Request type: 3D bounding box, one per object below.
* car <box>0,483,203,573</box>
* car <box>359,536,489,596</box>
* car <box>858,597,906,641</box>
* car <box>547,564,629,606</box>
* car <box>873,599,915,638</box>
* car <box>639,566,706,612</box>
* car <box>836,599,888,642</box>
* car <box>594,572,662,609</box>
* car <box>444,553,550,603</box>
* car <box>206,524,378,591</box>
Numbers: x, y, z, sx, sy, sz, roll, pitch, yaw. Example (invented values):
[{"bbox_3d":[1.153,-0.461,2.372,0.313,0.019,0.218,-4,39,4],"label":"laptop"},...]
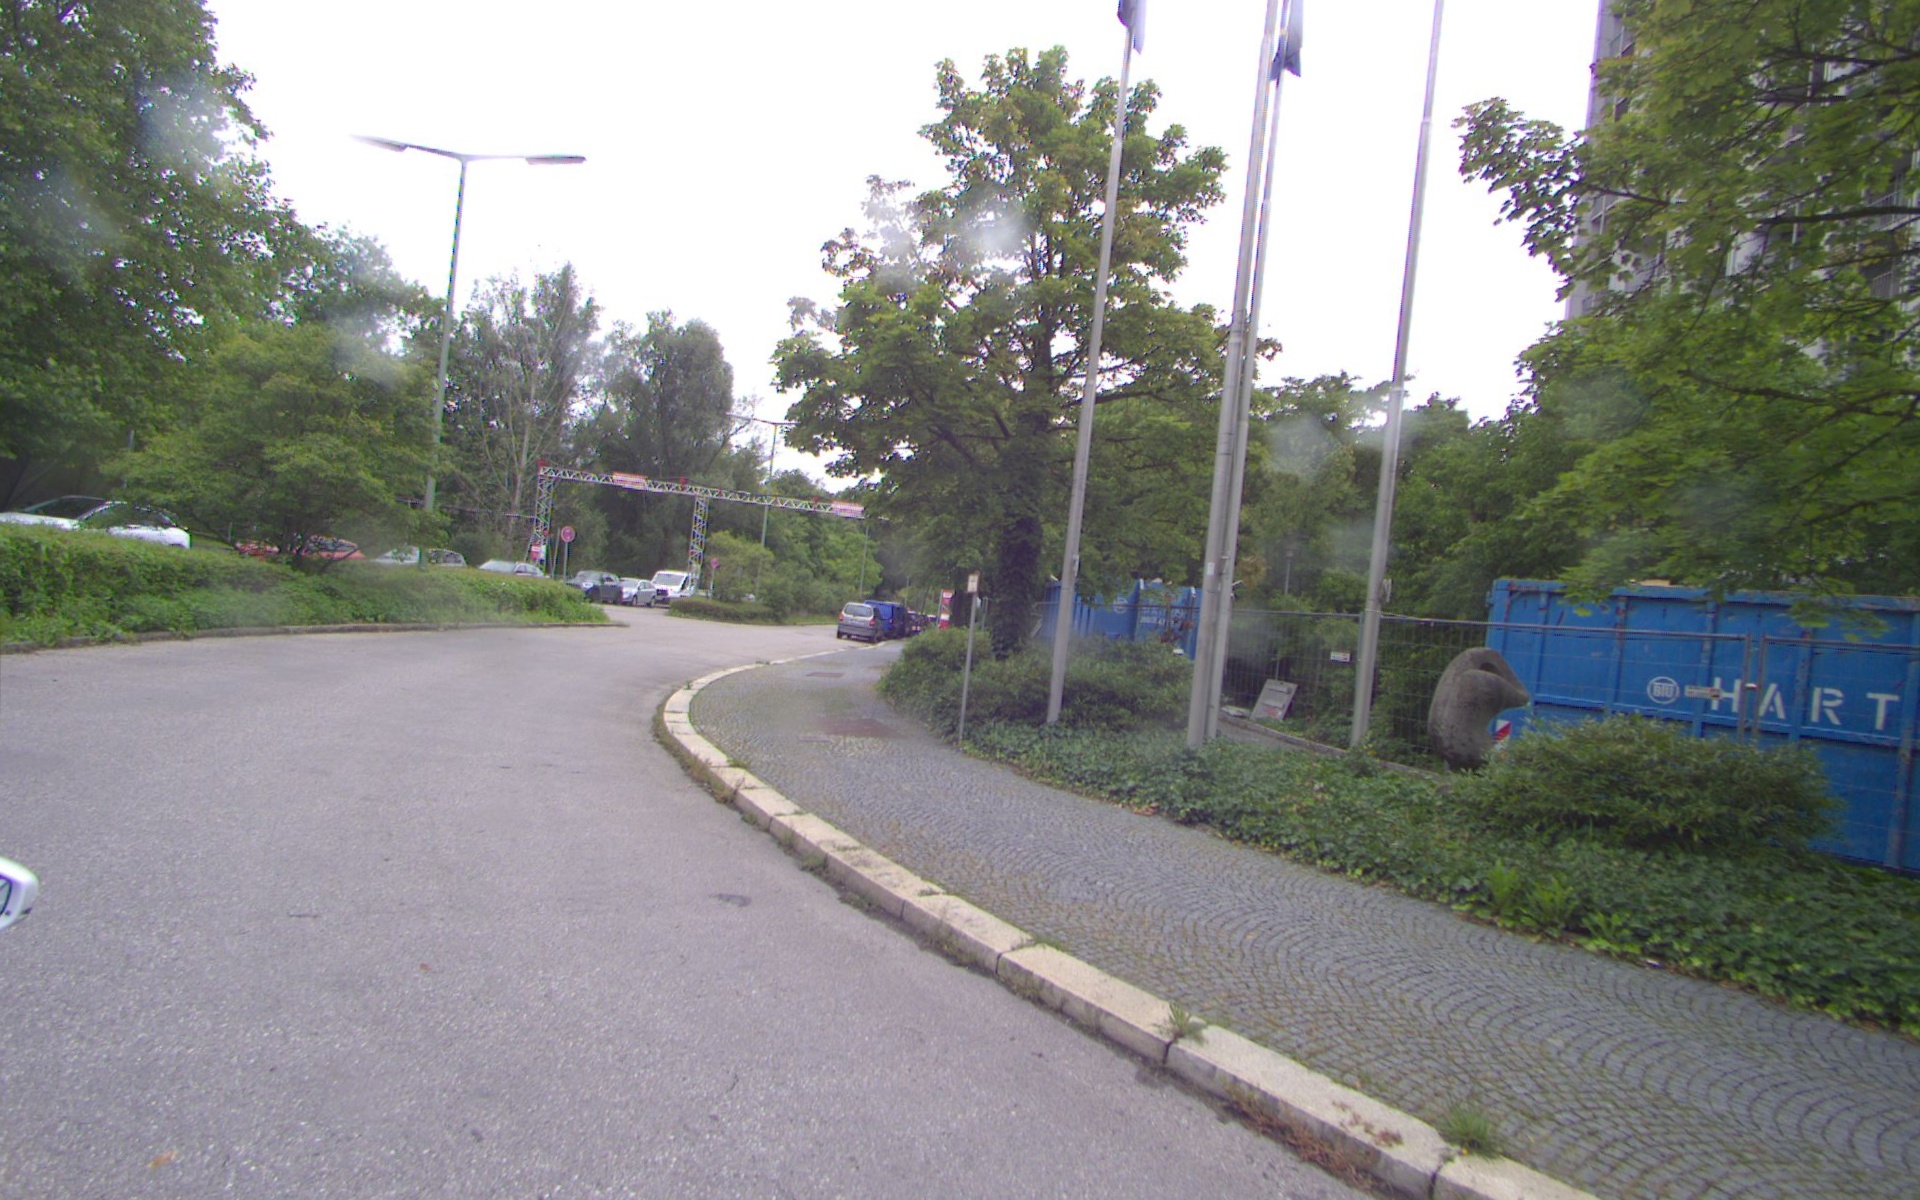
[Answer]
[{"bbox_3d":[-19.702,-1.587,22.639,1.962,1.526,4.003,7,-1,5],"label":"car"},{"bbox_3d":[-18.511,-1.132,34.976,1.962,1.593,4.003,7,-1,5],"label":"car"},{"bbox_3d":[-3.851,0.978,50.283,1.701,1.913,4.329,7,-1,2],"label":"car"},{"bbox_3d":[-17.668,-0.679,47.980,1.962,1.593,4.003,7,-1,5],"label":"car"},{"bbox_3d":[-3.699,1.066,57.124,1.701,1.913,4.329,7,-1,2],"label":"car"},{"bbox_3d":[-16.782,-0.604,58.977,2.165,2.254,4.872,7,-1,2],"label":"car"},{"bbox_3d":[-4.328,0.926,44.879,1.701,1.631,4.001,7,-1,1],"label":"car"},{"bbox_3d":[-17.448,-0.453,53.018,1.962,1.593,4.002,7,-1,2],"label":"car"},{"bbox_3d":[-18.324,-0.827,40.014,1.962,1.593,4.003,7,-1,5],"label":"car"},{"bbox_3d":[-19.081,-1.160,28.984,1.962,1.426,4.003,7,-1,5],"label":"car"}]
